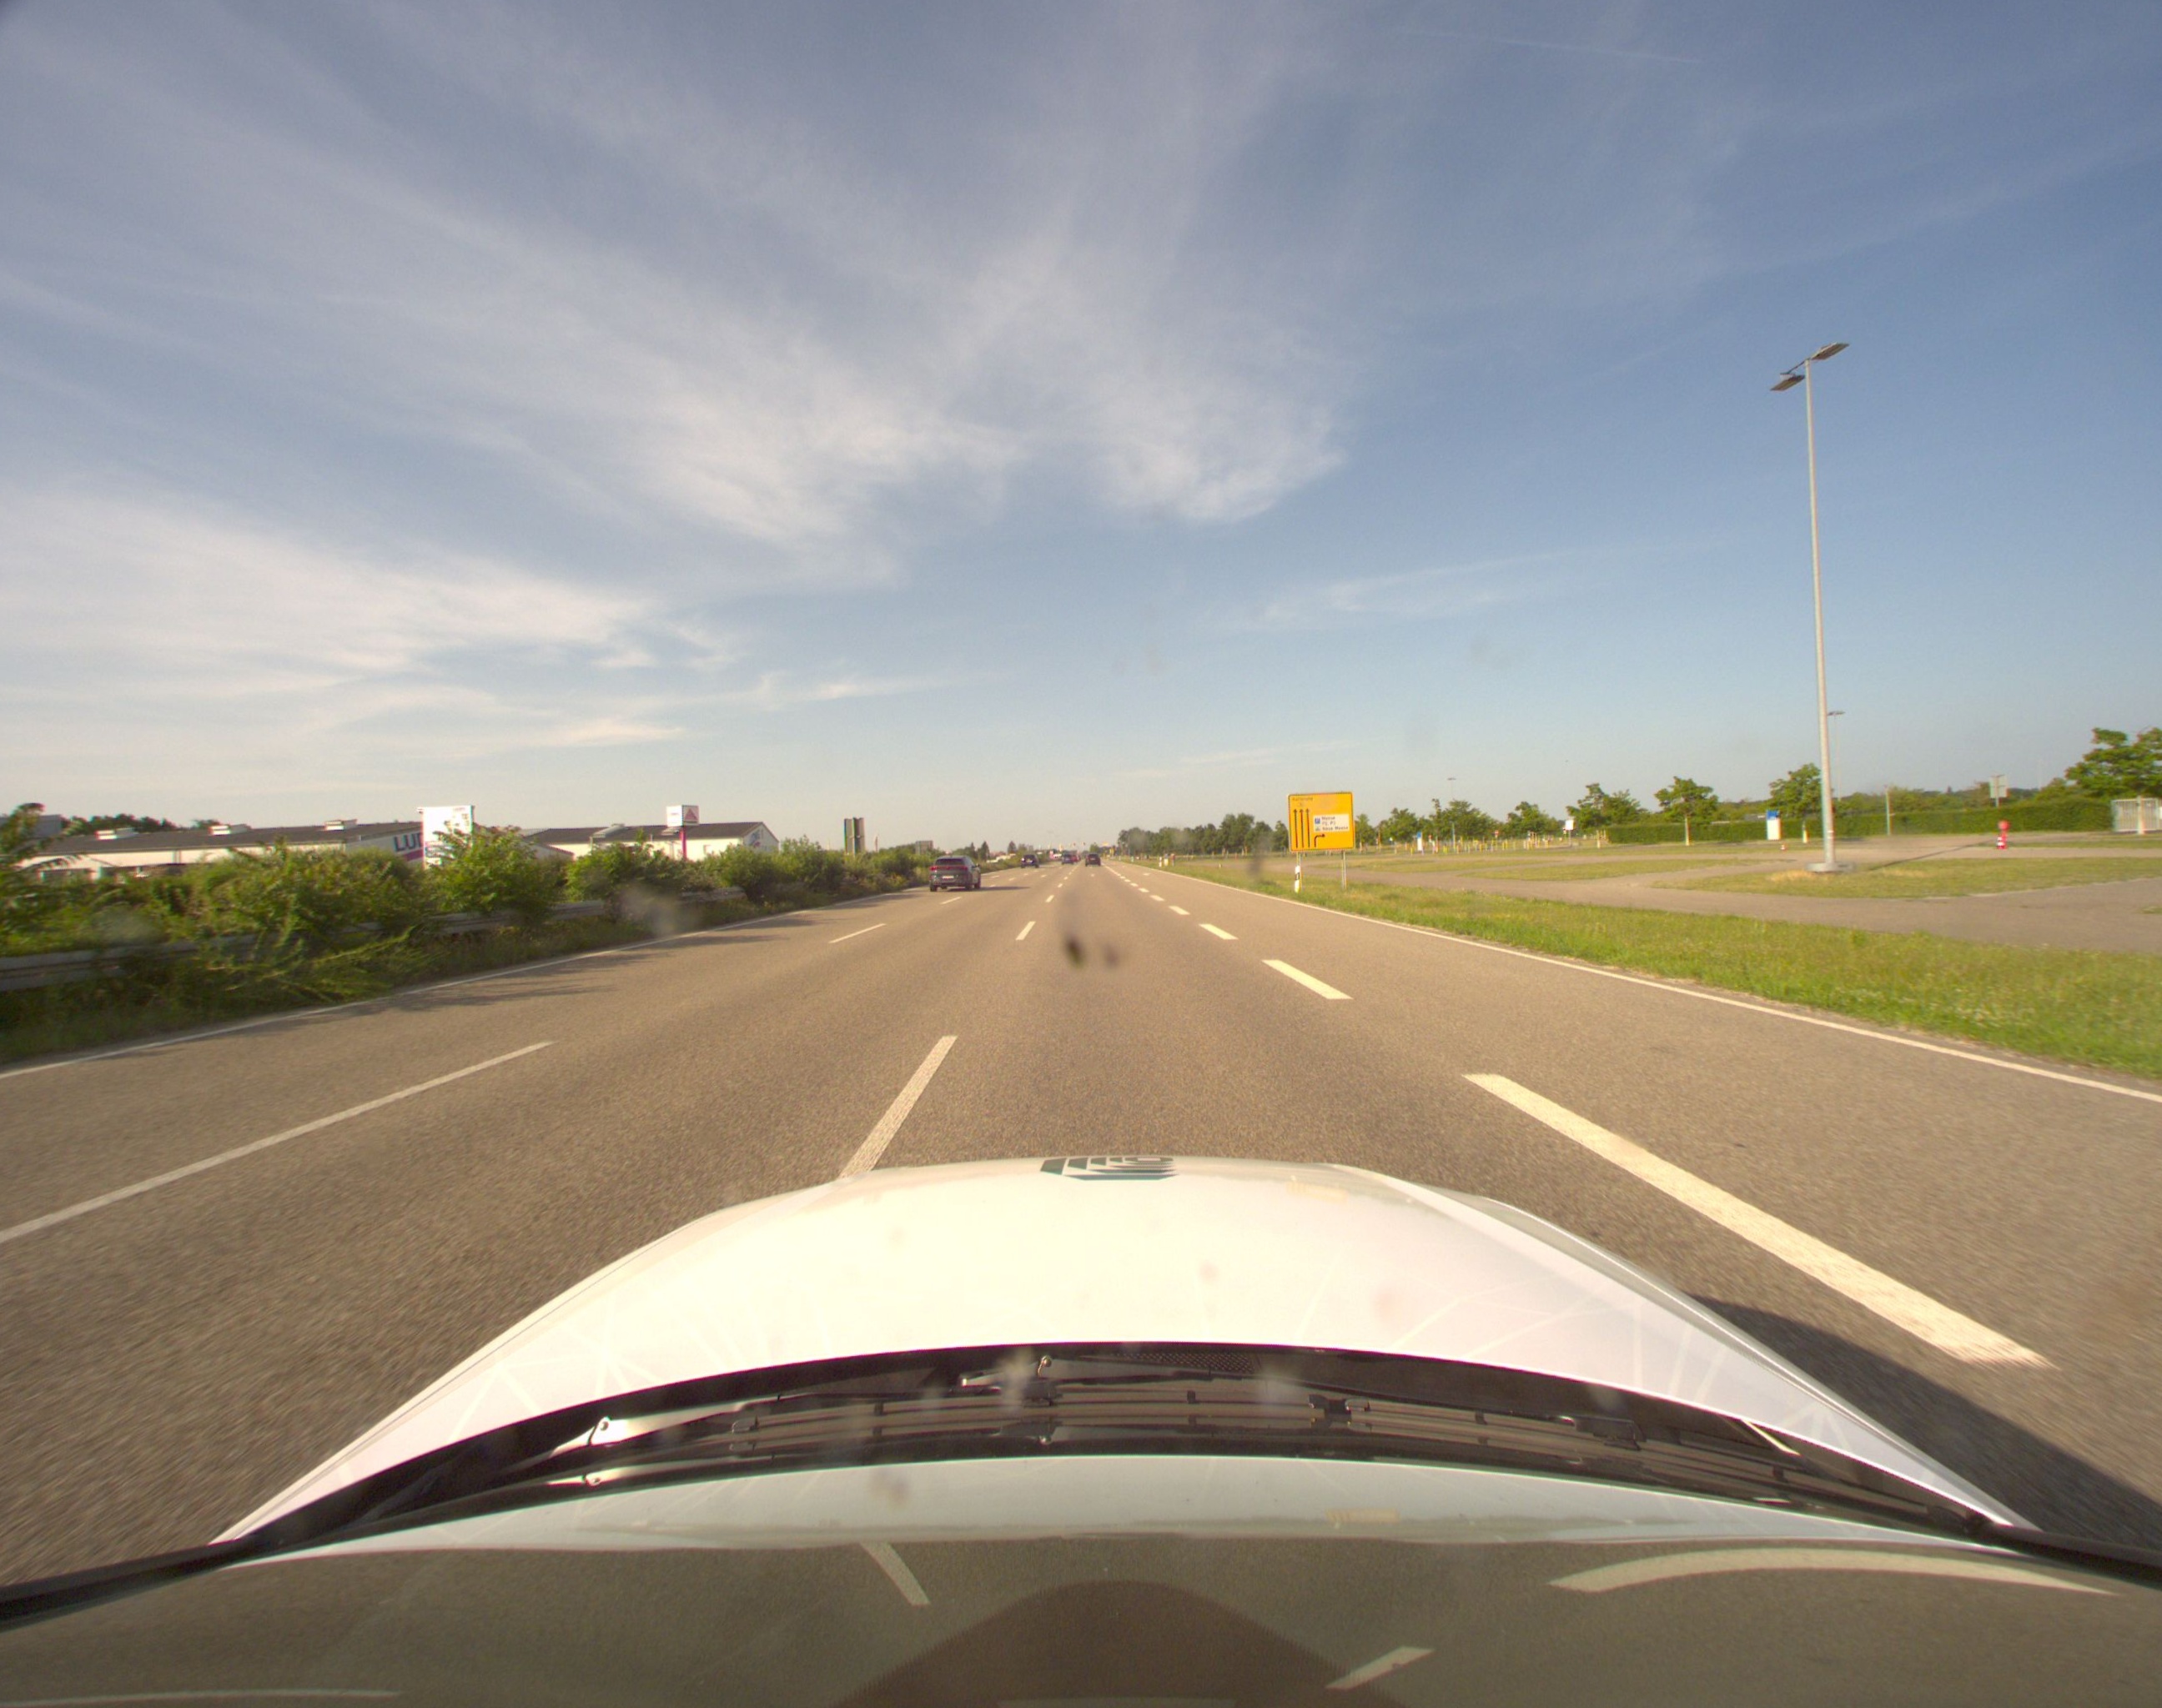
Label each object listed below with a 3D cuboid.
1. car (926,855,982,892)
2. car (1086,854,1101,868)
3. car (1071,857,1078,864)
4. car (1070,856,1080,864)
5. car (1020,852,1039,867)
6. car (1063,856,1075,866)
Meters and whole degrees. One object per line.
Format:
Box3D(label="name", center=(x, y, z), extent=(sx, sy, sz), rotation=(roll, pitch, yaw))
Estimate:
Box3D(label="car", center=(-5.726, 0.847, 37.246), extent=(1.839, 1.612, 4.400), rotation=(0, 0, 0))
Box3D(label="car", center=(1.542, 0.839, 102.932), extent=(1.926, 1.680, 4.400), rotation=(0, 0, 0))
Box3D(label="car", center=(-1.555, 1.647, 198.718), extent=(1.640, 1.728, 3.400), rotation=(-1, -1, 0))
Box3D(label="car", center=(-1.087, 1.102, 150.211), extent=(1.642, 1.463, 3.980), rotation=(0, 0, 0))
Box3D(label="car", center=(-6.020, 0.609, 95.228), extent=(1.926, 1.680, 4.400), rotation=(0, 0, 0))
Box3D(label="car", center=(-1.848, 1.037, 125.143), extent=(1.807, 1.463, 4.400), rotation=(0, 0, 0))
